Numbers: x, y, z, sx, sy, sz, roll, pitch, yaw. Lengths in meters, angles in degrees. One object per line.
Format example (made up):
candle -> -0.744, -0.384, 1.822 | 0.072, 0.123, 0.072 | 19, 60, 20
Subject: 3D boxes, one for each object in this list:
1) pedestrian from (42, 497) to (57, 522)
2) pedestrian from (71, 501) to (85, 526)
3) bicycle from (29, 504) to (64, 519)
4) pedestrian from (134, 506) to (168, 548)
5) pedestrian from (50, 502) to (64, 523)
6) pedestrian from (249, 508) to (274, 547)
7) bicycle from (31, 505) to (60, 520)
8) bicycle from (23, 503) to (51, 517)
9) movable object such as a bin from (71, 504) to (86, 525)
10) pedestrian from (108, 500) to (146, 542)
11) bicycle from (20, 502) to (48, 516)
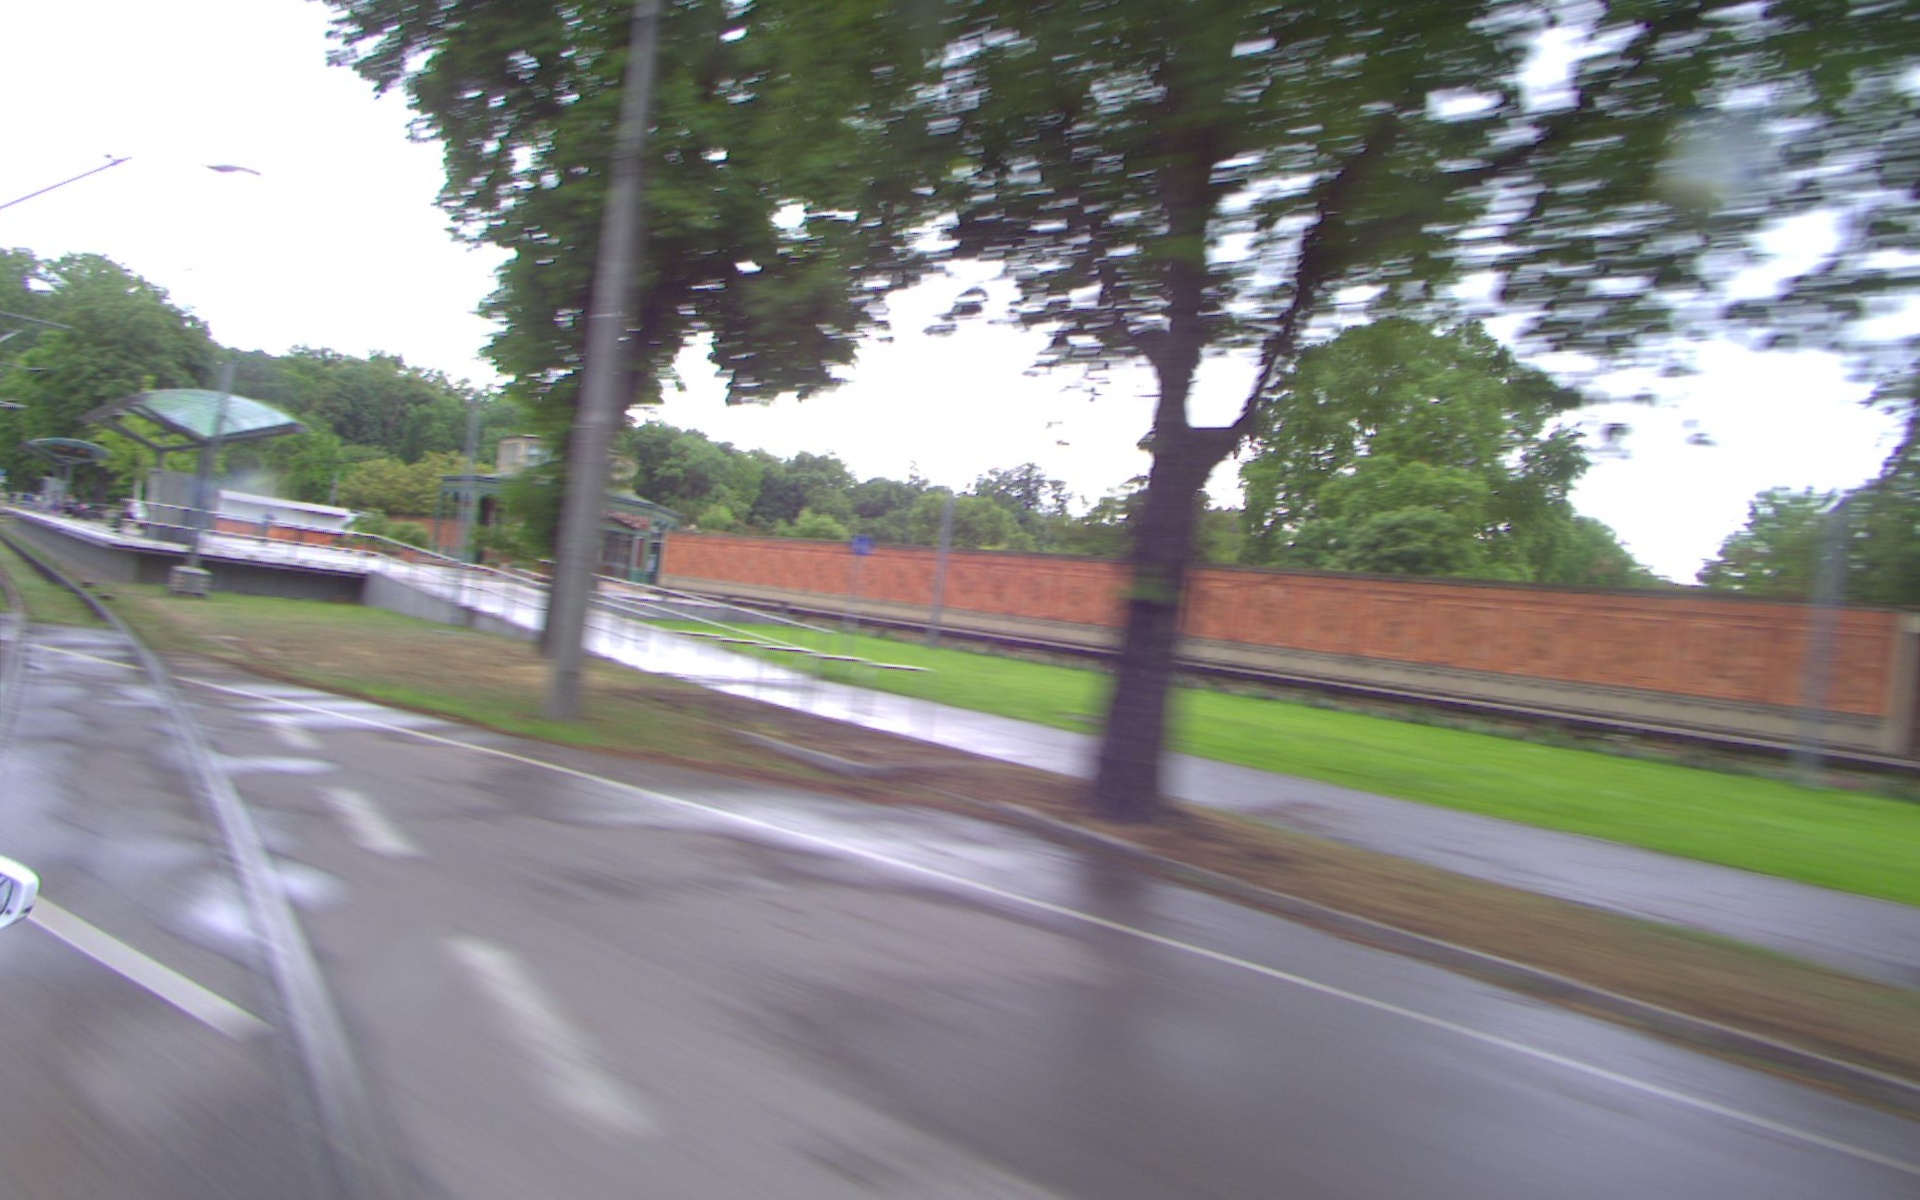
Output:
pedestrian -> -46.618, -4.638, 51.508 | 0.544, 1.241, 0.436 | 7, 1, 44
pedestrian -> -45.959, -4.508, 52.408 | 0.544, 1.241, 0.436 | 7, 1, 44
bicycle -> -81.807, -7.912, 90.102 | 0.679, 1.044, 2.219 | 7, 0, 41
pedestrian -> -25.678, -2.320, 31.923 | 0.771, 1.225, 0.519 | 5, -5, 40
pedestrian -> -45.985, -4.448, 51.221 | 0.544, 1.021, 0.436 | 7, 1, 44
pedestrian -> -34.528, -3.575, 49.707 | 1.166, 1.813, 0.718 | 7, 2, 44
bicycle -> -82.442, -7.921, 90.710 | 0.644, 1.044, 1.807 | 7, 0, 41
bicycle -> -87.172, -8.531, 95.001 | 0.644, 1.044, 1.807 | 7, 0, 41
movable object such as a bin -> -45.258, -4.404, 51.649 | 0.673, 1.021, 0.436 | 7, 1, 45
pedestrian -> -25.714, -2.437, 31.049 | 0.511, 1.130, 0.602 | 7, -4, 28
bicycle -> -88.254, -8.671, 95.876 | 0.644, 1.044, 1.807 | 7, 0, 41
